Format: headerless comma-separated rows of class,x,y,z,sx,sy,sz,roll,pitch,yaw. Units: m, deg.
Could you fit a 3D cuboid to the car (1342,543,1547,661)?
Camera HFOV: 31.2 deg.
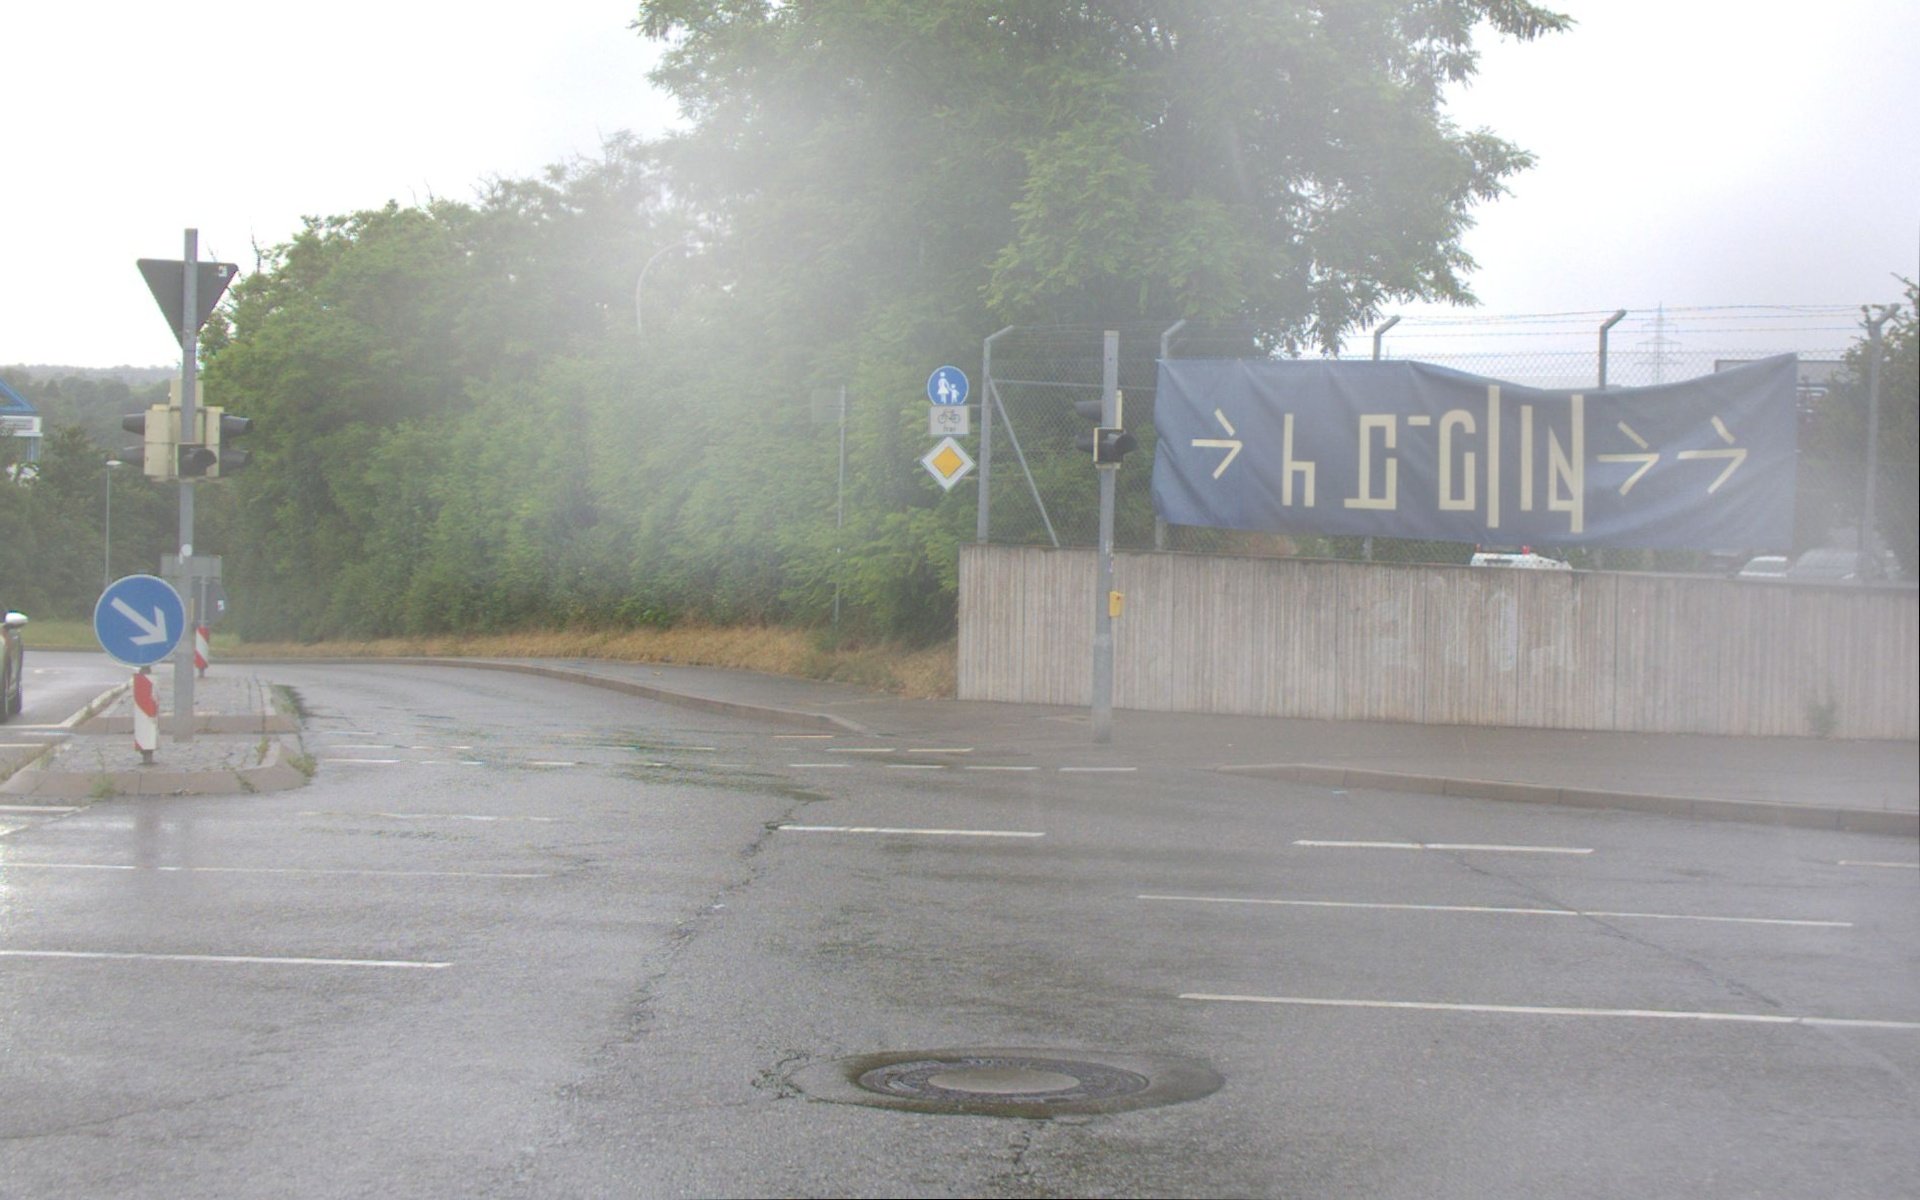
car,6.753,0.015,47.662,1.745,1.564,3.525,1,1,27

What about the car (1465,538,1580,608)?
car,13.261,-0.632,80.949,1.669,1.601,3.525,1,1,27

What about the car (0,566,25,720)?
car,-10.412,0.399,34.664,1.661,1.489,4.001,1,0,-12

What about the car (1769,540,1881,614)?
car,19.364,-0.523,76.894,1.669,1.601,3.525,1,1,27
